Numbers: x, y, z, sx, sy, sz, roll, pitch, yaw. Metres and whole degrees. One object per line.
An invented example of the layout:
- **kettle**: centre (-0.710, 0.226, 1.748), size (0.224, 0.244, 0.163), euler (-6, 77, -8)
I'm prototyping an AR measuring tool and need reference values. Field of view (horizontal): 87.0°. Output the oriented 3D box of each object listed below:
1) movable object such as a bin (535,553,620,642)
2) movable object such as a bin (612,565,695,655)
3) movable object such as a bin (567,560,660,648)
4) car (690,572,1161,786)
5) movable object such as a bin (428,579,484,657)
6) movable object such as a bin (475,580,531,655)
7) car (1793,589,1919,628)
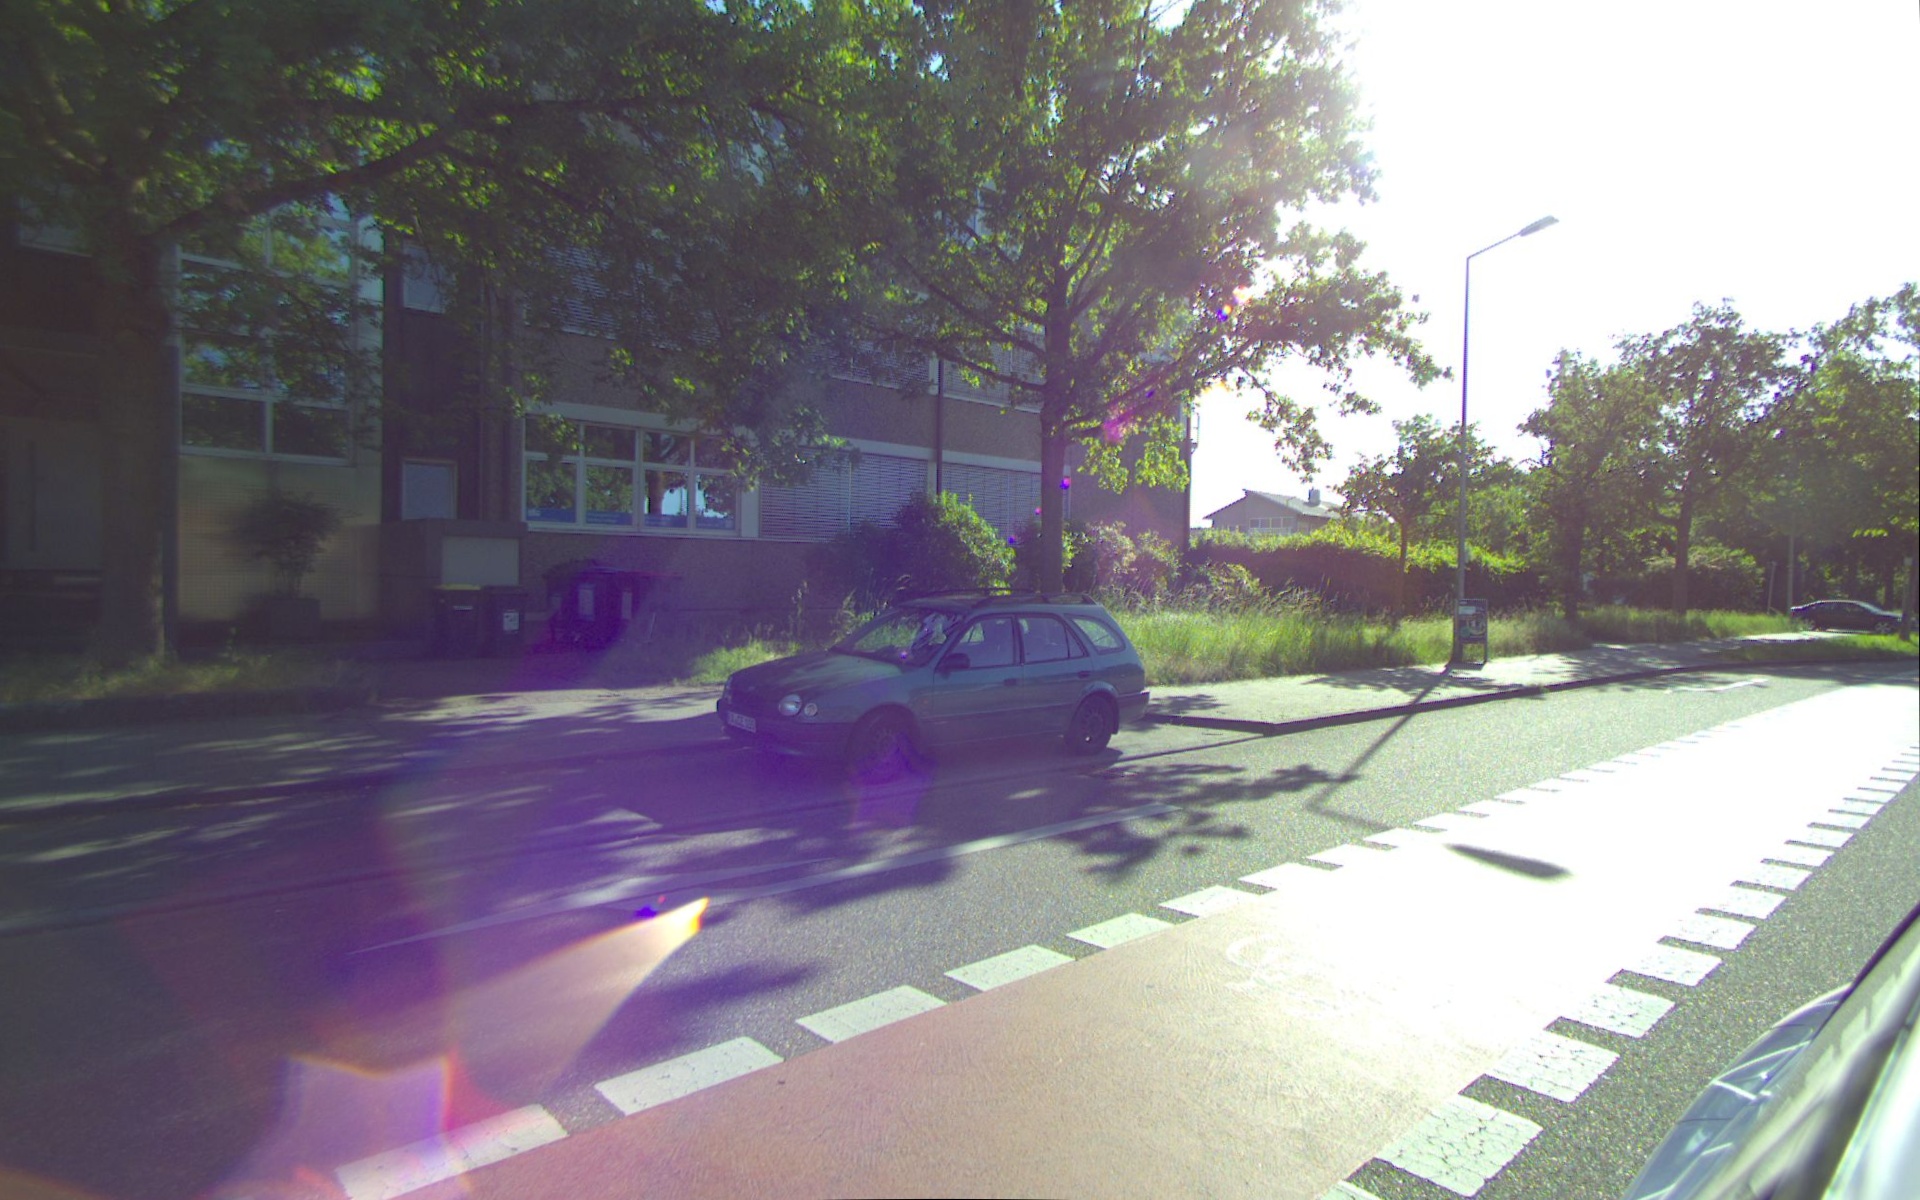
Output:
- **movable object such as a bin**: centre (-6.785, -0.073, 17.933), size (1.024, 1.501, 1.309), euler (0, 2, -41)
- **movable object such as a bin**: centre (-4.785, 0.126, 15.765), size (0.878, 1.323, 1.186), euler (0, 2, -37)
- **movable object such as a bin**: centre (-5.776, 0.044, 16.853), size (1.070, 1.388, 1.186), euler (0, 2, -43)
- **car**: centre (-0.150, 0.575, 9.124), size (4.068, 1.487, 1.705), euler (1, 1, -41)
- **movable object such as a bin**: centre (-7.219, 0.246, 14.489), size (0.575, 1.070, 0.625), euler (0, 1, -42)
- **movable object such as a bin**: centre (-6.763, 0.241, 14.970), size (0.604, 1.075, 0.634), euler (0, 1, -42)
- **car**: centre (39.910, 0.326, 44.624), size (1.859, 1.538, 4.495), euler (0, 2, -29)
